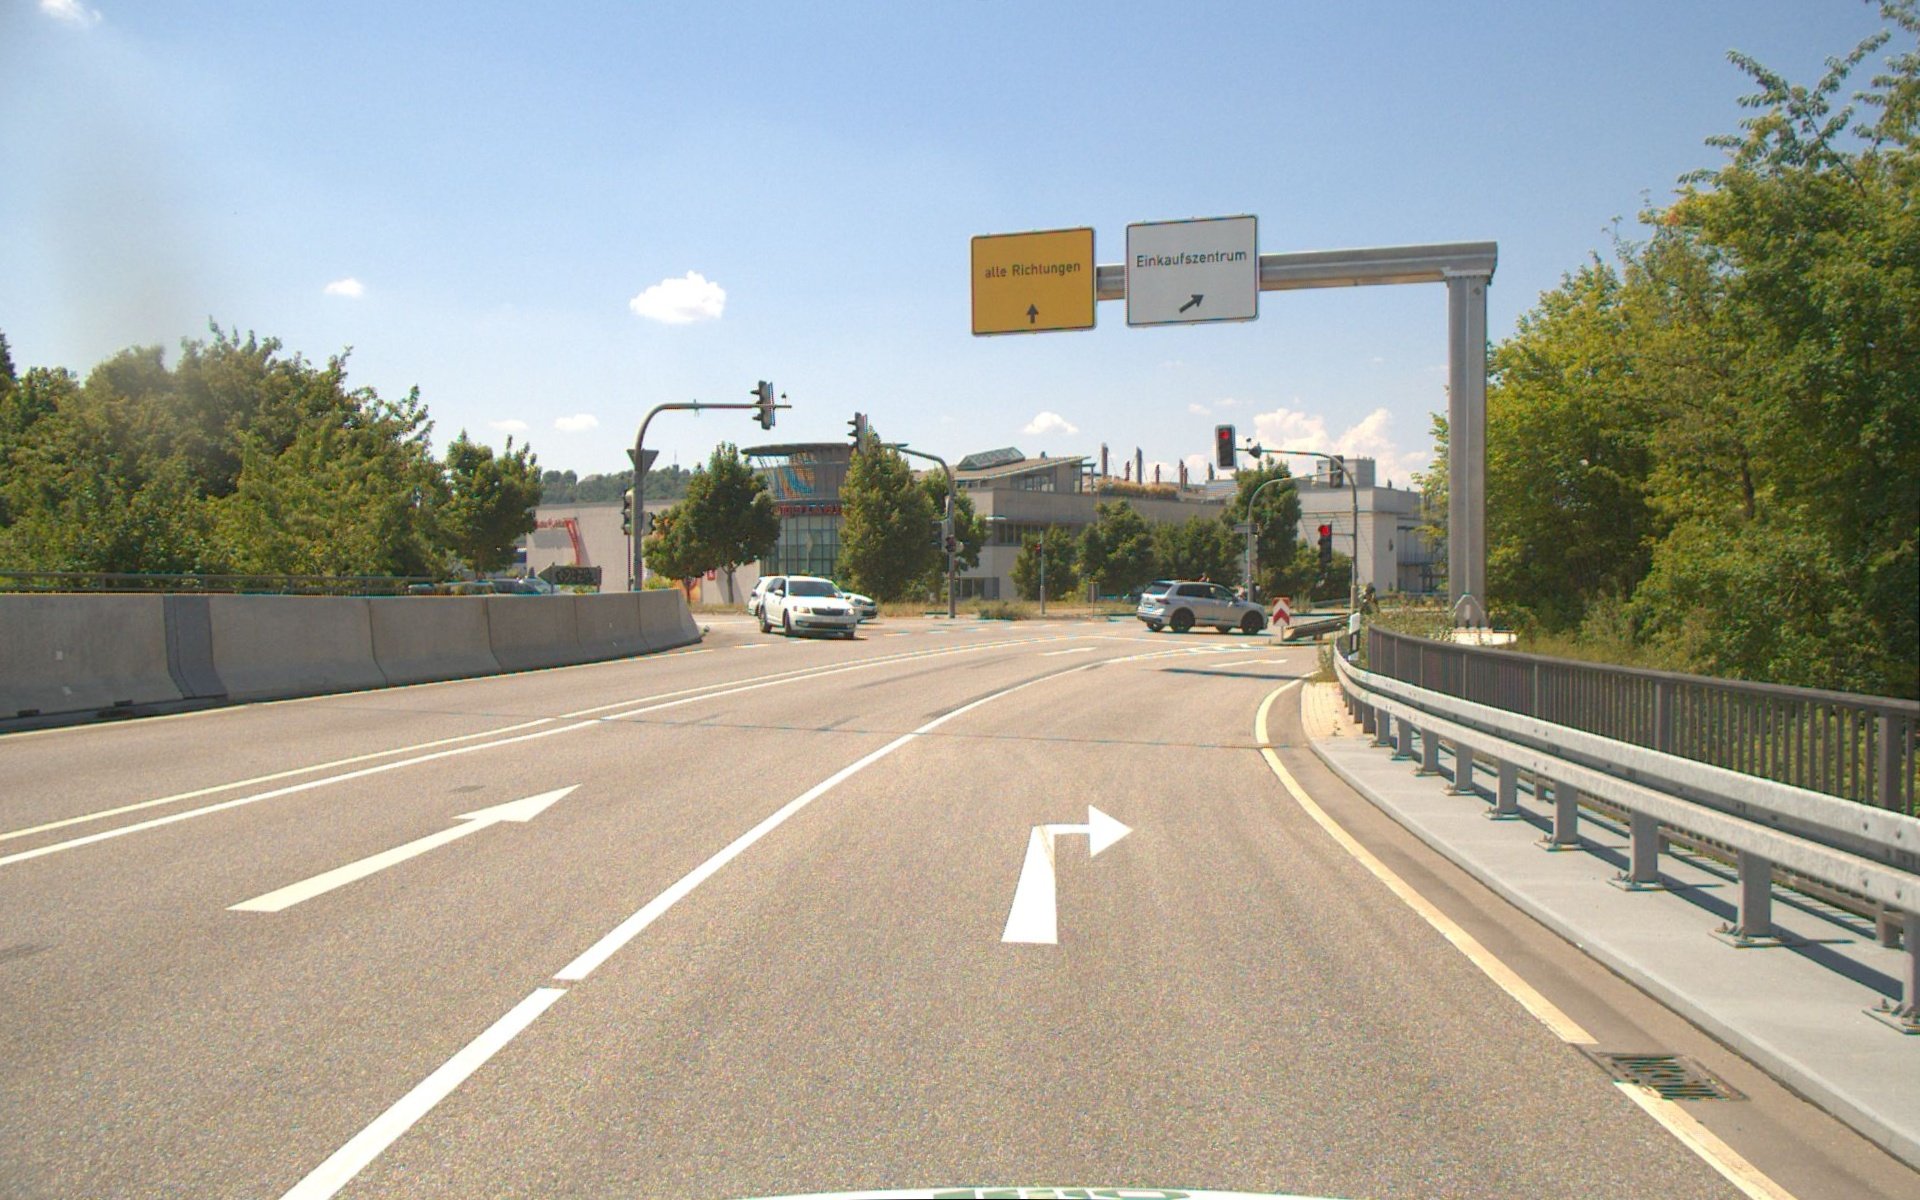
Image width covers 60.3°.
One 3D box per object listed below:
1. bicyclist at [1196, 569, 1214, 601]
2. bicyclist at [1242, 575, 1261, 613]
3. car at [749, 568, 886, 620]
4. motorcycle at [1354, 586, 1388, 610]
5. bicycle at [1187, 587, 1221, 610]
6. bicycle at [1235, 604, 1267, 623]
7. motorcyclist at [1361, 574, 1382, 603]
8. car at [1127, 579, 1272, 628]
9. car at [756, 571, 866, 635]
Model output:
[{"bbox_3d":[11.370,-0.698,76.858,0.678,1.428,0.403,2,1,-38],"label":"bicyclist"},{"bbox_3d":[13.589,-0.287,77.024,0.521,1.747,0.727,4,2,37],"label":"bicyclist"},{"bbox_3d":[-4.562,-0.211,53.281,4.034,1.512,2.002,2,1,6],"label":"car"},{"bbox_3d":[19.145,-0.102,77.072,0.554,1.099,2.271,0,0,41],"label":"motorcycle"},{"bbox_3d":[11.357,-0.060,76.883,1.813,1.042,0.409,1,2,-39],"label":"bicycle"},{"bbox_3d":[13.555,0.626,77.052,0.525,0.867,2.118,4,2,37],"label":"bicycle"},{"bbox_3d":[19.186,-0.534,77.131,0.664,1.325,0.719,-1,-1,41],"label":"motorcyclist"},{"bbox_3d":[7.787,0.116,53.822,4.324,1.532,1.985,0,0,-24],"label":"car"},{"bbox_3d":[-3.823,0.038,41.760,1.760,1.521,4.527,0,1,-19],"label":"car"}]
